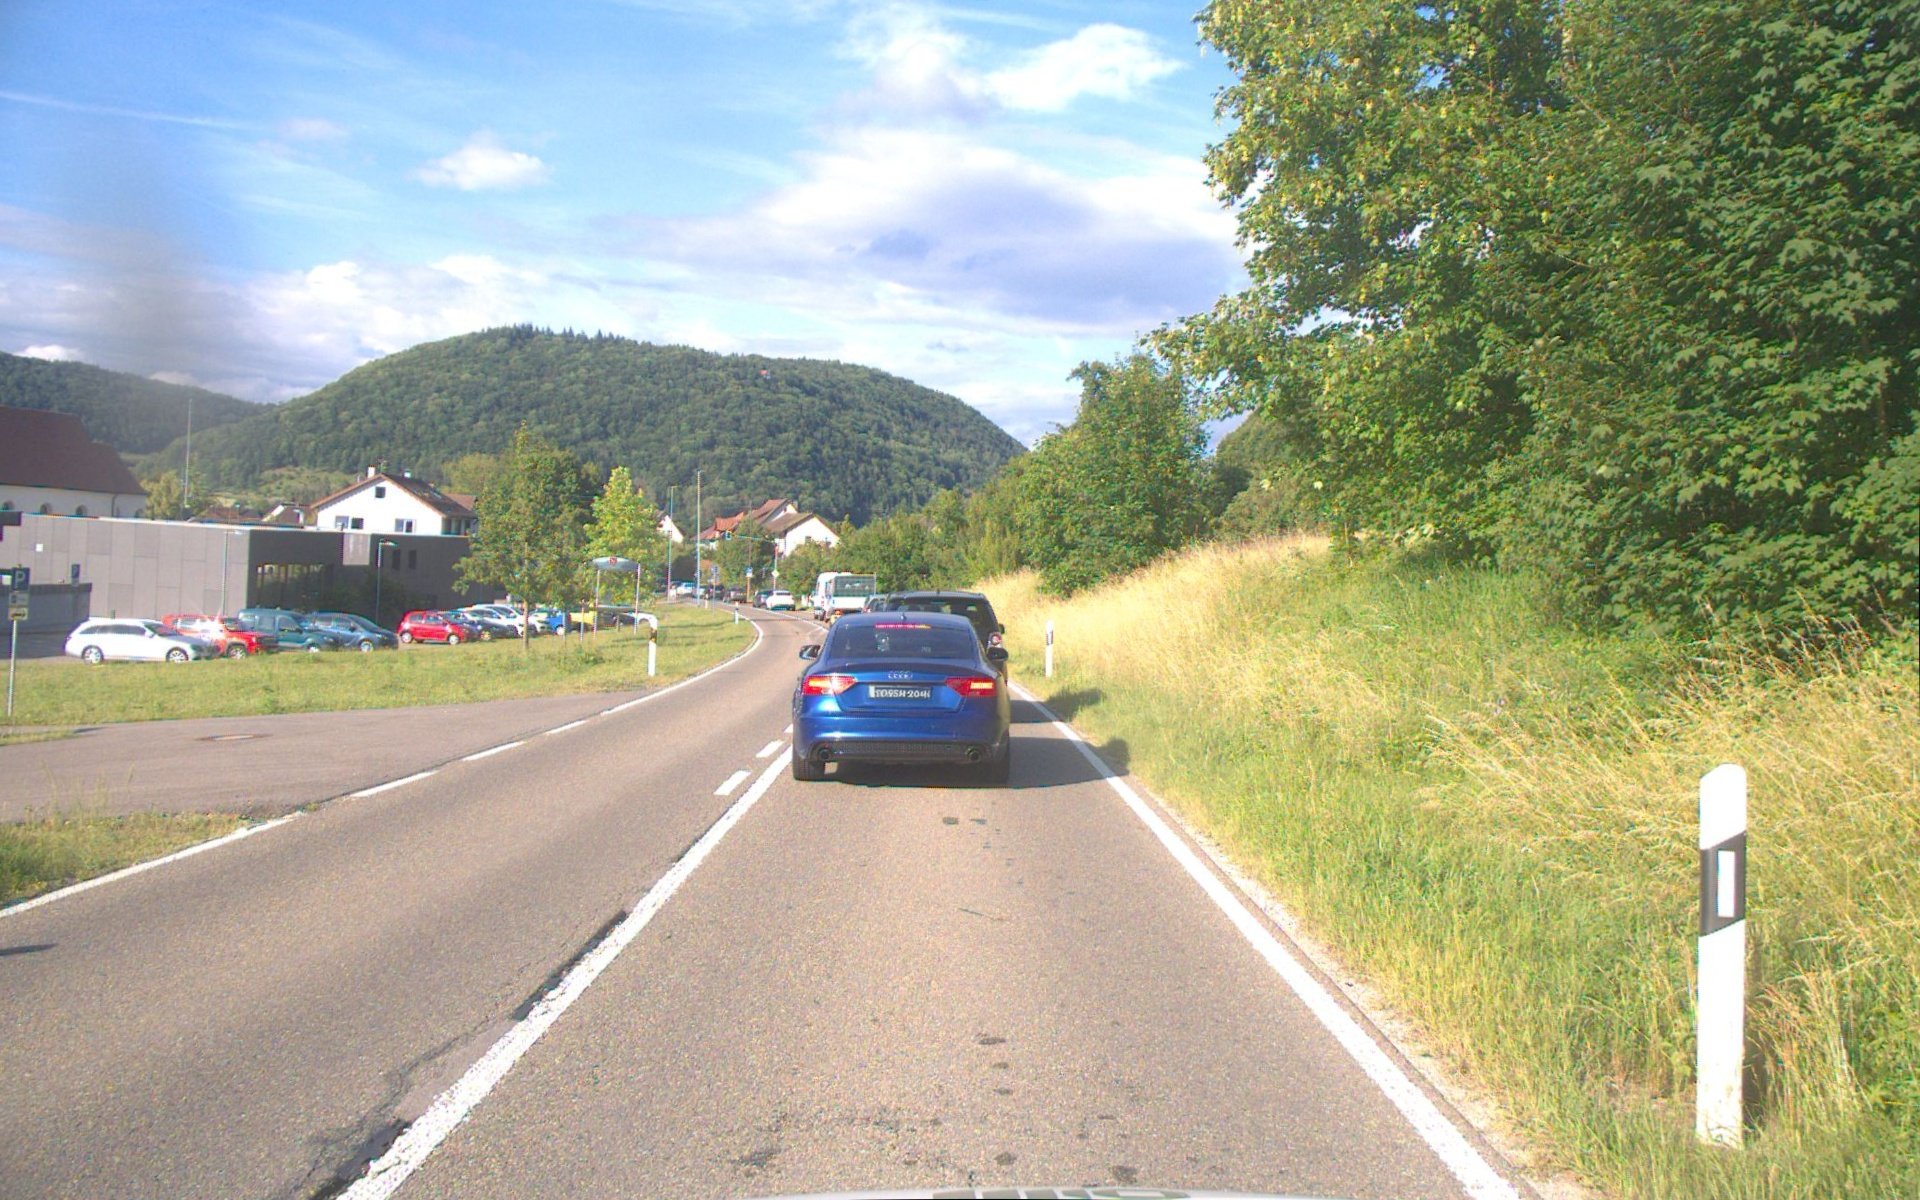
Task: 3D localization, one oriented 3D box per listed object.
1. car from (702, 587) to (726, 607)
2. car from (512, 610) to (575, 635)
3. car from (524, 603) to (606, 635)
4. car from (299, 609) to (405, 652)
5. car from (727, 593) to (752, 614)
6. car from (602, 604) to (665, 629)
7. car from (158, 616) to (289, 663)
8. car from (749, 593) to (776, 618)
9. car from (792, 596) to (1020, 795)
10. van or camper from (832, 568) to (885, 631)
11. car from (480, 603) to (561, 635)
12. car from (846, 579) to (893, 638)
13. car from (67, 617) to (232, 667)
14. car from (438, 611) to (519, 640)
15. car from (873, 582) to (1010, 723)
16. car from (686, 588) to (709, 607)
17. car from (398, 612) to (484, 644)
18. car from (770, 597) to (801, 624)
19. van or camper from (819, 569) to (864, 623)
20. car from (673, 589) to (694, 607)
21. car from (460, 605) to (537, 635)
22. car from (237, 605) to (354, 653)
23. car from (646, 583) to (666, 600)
[{"bbox_3d":[-24.556,-0.276,165.089,1.652,1.958,3.978,0,0,-19],"label":"car"},{"bbox_3d":[-24.280,1.297,96.434,3.302,1.397,1.659,0,0,-3],"label":"car"},{"bbox_3d":[-23.660,1.129,99.169,4.457,1.846,1.842,0,0,4],"label":"car"},{"bbox_3d":[-25.261,1.272,68.825,3.738,1.752,1.733,0,0,3],"label":"car"},{"bbox_3d":[-20.289,0.326,151.935,1.634,1.958,3.980,0,0,-18],"label":"car"},{"bbox_3d":[-22.527,1.114,114.085,3.950,1.689,1.656,0,0,4],"label":"car"},{"bbox_3d":[-26.056,1.391,58.555,3.837,1.606,1.756,0,0,3],"label":"car"},{"bbox_3d":[-15.883,0.443,133.185,1.632,1.958,3.984,0,0,-15],"label":"car"},{"bbox_3d":[-0.408,0.737,14.437,1.707,1.476,3.517,2,0,0],"label":"car"},{"bbox_3d":[-4.356,-0.017,70.245,2.012,2.549,5.804,0,0,-6],"label":"van or camper"},{"bbox_3d":[-24.278,1.068,91.491,3.991,1.702,1.598,0,2,4],"label":"car"},{"bbox_3d":[-3.259,0.292,59.203,1.537,2.049,3.996,0,0,-5],"label":"car"},{"bbox_3d":[-27.176,1.391,55.544,4.543,1.616,2.001,0,0,3],"label":"car"},{"bbox_3d":[-24.409,1.314,83.908,3.548,1.430,1.597,0,-3,4],"label":"car"},{"bbox_3d":[-0.299,0.636,21.721,1.613,1.653,3.515,2,0,-3],"label":"car"},{"bbox_3d":[-27.549,-0.220,173.358,1.652,1.958,3.976,0,0,-20],"label":"car"},{"bbox_3d":[-24.755,1.320,78.958,3.548,1.469,1.649,0,0,4],"label":"car"},{"bbox_3d":[-12.953,0.793,122.422,1.632,1.958,3.983,0,0,-16],"label":"car"},{"bbox_3d":[-6.332,-0.196,87.843,2.236,2.761,5.760,0,0,-5],"label":"van or camper"},{"bbox_3d":[-30.407,-0.257,181.742,1.652,1.958,3.976,0,0,-20],"label":"car"},{"bbox_3d":[-24.300,1.061,87.188,3.589,1.520,1.597,0,0,4],"label":"car"},{"bbox_3d":[-25.738,1.119,64.135,3.781,1.752,1.756,1,0,1],"label":"car"},{"bbox_3d":[-36.252,-0.994,197.042,1.652,1.958,3.976,0,0,-20],"label":"car"}]
